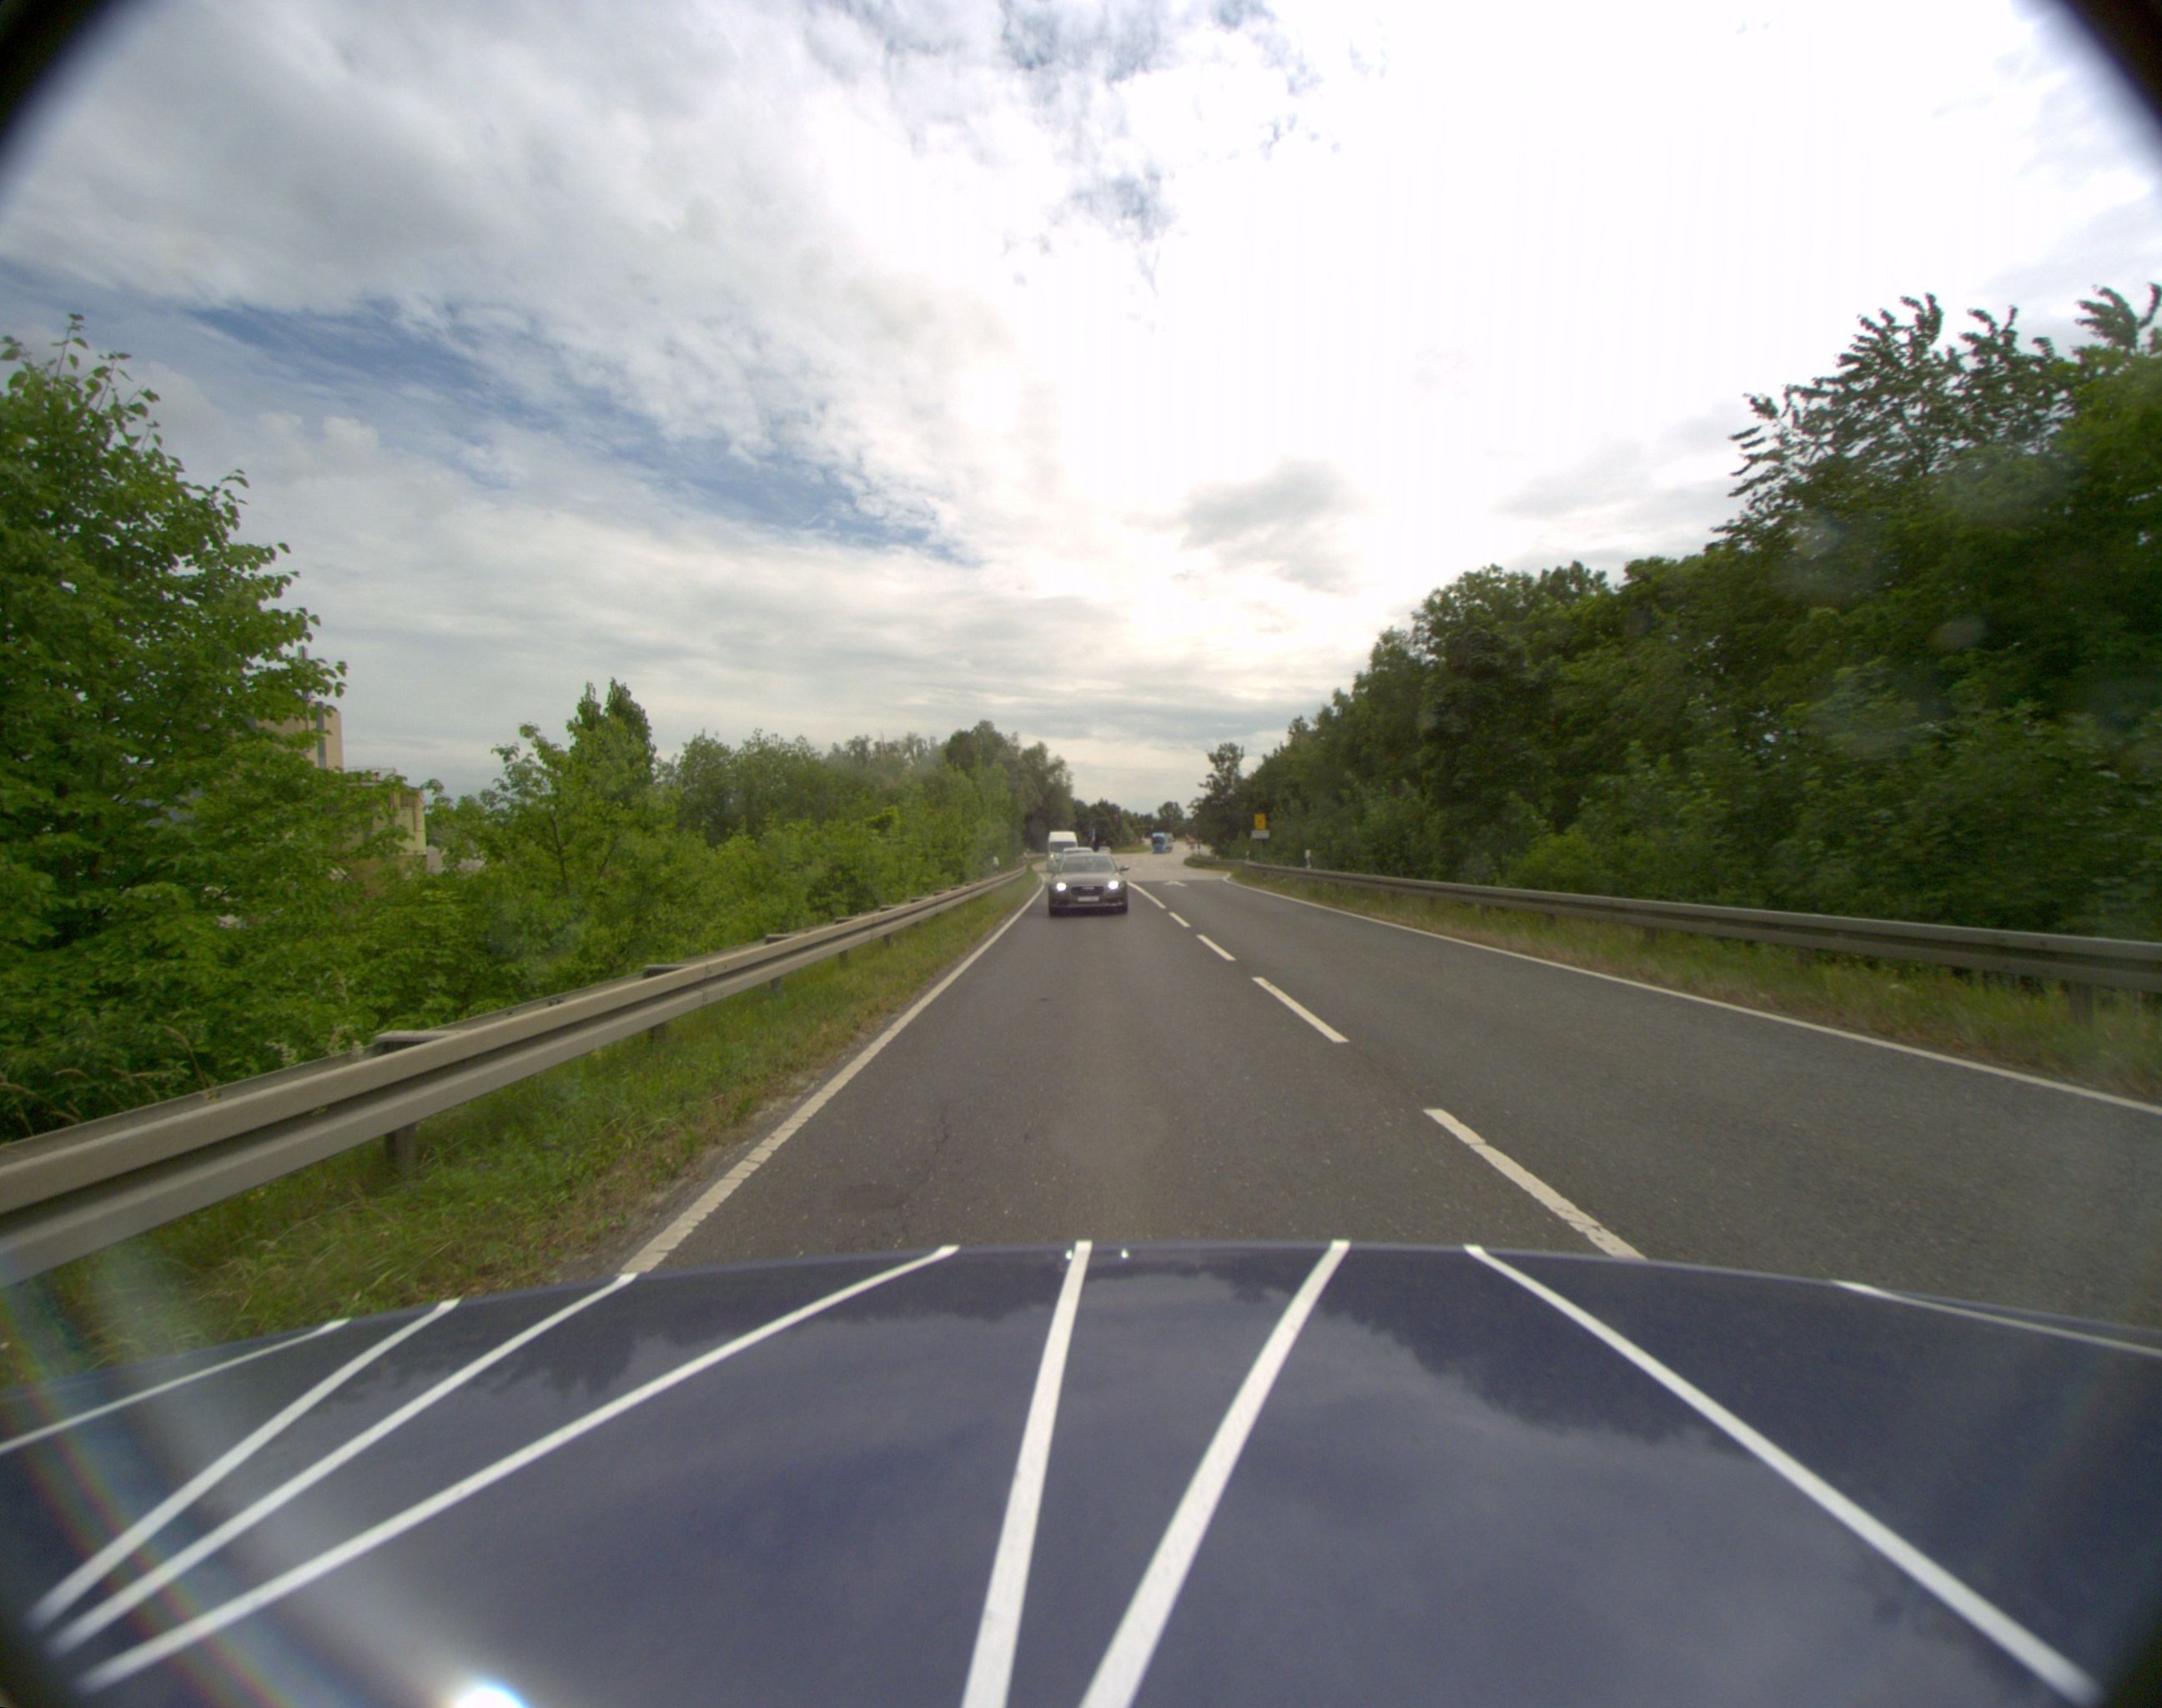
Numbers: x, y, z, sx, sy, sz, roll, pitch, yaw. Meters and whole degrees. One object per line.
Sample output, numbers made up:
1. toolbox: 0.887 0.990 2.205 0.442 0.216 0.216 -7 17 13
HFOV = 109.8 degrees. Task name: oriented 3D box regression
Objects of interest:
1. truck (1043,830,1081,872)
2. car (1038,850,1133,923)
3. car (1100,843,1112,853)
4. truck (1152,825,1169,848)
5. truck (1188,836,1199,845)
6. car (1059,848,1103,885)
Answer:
1. truck: -1.286 -0.267 51.375 2.379 2.579 5.996 1 2 -2
2. car: 0.267 0.701 18.846 1.964 1.447 4.797 -1 1 5
3. car: 3.785 -0.903 115.546 1.744 1.317 4.000 3 1 2
4. truck: 15.957 -3.482 151.827 3.024 4.326 9.575 1 2 8
5. truck: 34.904 -4.236 236.719 2.322 2.586 6.021 1 1 -2
6. car: 0.042 0.515 34.775 1.826 1.489 4.223 2 1 1
